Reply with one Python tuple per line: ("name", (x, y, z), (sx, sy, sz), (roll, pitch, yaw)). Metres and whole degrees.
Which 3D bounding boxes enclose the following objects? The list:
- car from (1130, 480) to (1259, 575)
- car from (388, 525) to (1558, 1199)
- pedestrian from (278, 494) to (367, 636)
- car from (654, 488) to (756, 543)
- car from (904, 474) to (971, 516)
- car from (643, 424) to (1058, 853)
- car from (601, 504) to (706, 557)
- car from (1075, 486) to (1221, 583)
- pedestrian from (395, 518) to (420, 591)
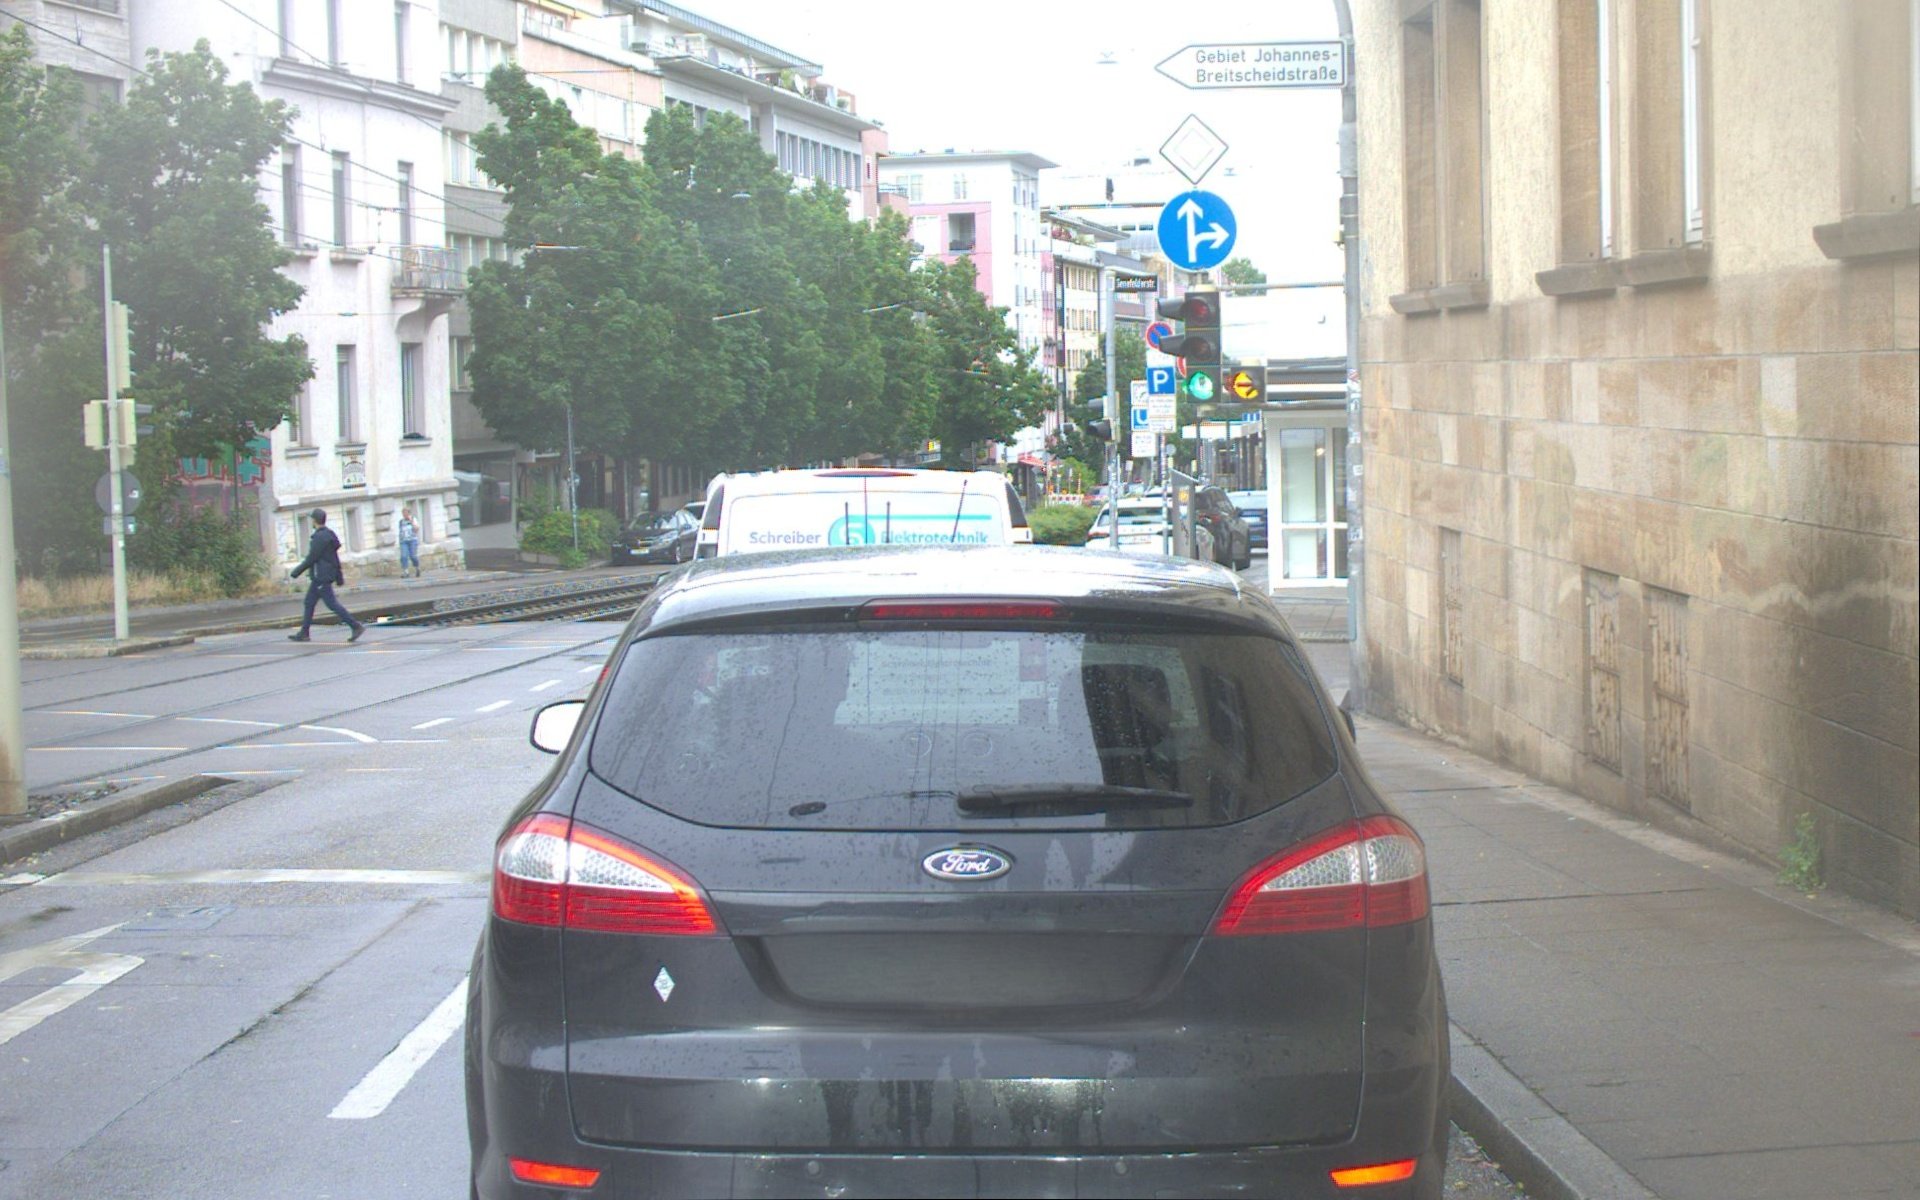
("car", (4.305, -1.315, 62.575), (1.846, 1.627, 4.585), (-1, 1, 10))
("car", (-0.009, 0.616, 7.446), (1.842, 1.502, 4.000), (1, 1, -1))
("pedestrian", (-8.350, -0.459, 45.057), (0.930, 1.823, 0.959), (1, 1, 2))
("car", (-7.361, -2.435, 99.622), (1.856, 1.543, 4.719), (0, 1, 10))
("car", (-0.900, -4.249, 139.365), (1.856, 1.631, 4.933), (0, 1, 10))
("car", (-0.591, 0.157, 18.937), (1.988, 2.053, 4.645), (1, 1, -2))
("car", (-8.327, -1.871, 93.693), (1.694, 1.373, 4.719), (0, 0, 10))
("car", (3.106, -1.058, 55.958), (1.802, 1.450, 4.585), (-2, 1, 10))
("pedestrian", (-12.576, -1.039, 78.201), (0.467, 1.646, 0.582), (1, 1, -2))
